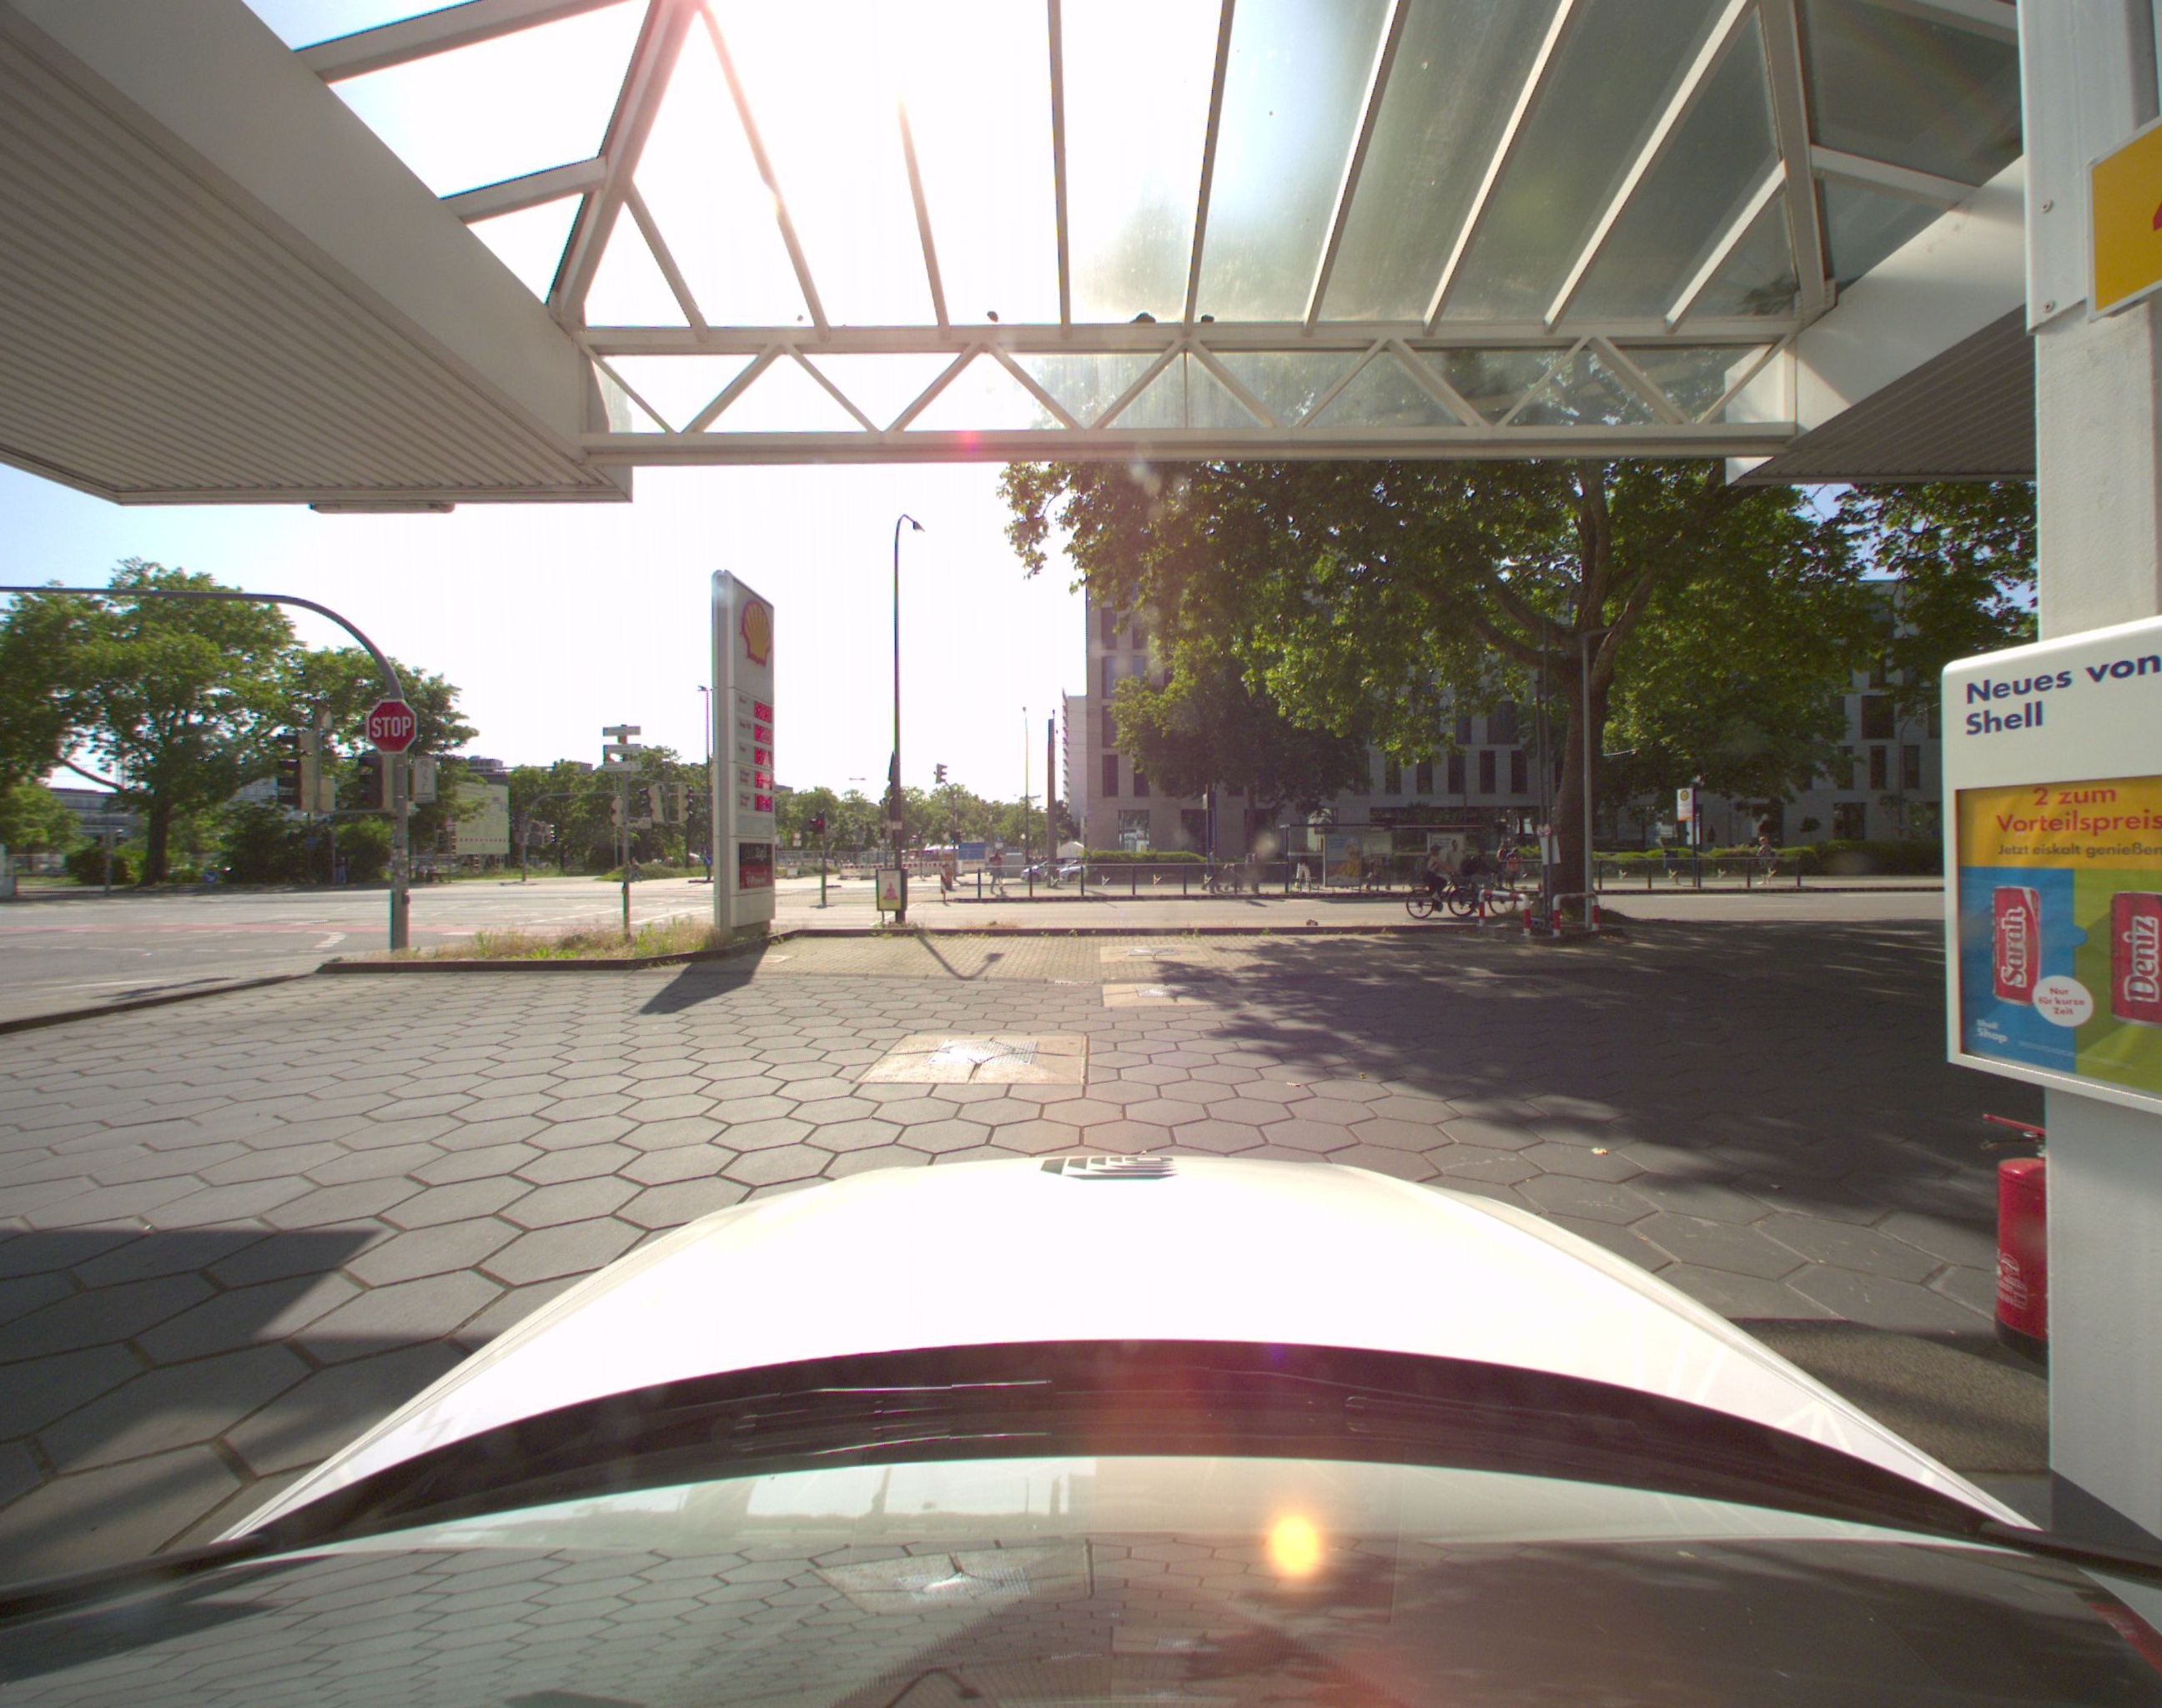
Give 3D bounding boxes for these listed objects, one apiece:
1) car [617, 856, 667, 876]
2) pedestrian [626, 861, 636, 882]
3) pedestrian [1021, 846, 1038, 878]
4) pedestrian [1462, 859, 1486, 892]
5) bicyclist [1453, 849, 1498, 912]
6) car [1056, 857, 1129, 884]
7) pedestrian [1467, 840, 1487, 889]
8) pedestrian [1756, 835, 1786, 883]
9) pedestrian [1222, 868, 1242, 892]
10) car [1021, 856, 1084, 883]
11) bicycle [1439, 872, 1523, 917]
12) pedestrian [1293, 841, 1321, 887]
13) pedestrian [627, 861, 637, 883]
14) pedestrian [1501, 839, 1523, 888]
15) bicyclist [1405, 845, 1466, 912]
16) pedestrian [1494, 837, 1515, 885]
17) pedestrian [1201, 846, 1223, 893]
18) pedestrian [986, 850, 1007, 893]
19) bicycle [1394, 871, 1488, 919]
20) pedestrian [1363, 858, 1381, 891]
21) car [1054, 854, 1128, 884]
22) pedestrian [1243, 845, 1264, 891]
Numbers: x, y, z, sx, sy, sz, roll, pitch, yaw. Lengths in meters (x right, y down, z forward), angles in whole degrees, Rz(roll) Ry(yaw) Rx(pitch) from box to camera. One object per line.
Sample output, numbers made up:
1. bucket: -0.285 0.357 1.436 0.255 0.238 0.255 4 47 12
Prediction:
1. car: -44.707 1.248 83.033 3.968 1.816 2.003 -3 -1 5
2. pedestrian: -31.119 1.193 56.350 0.566 1.469 0.509 -1 0 -24
3. pedestrian: -3.627 0.537 57.256 1.104 2.248 1.103 -1 0 1
4. pedestrian: 13.920 0.758 28.886 0.625 1.138 0.525 -1 0 7
5. bicyclist: 9.891 0.654 20.440 0.860 1.544 0.534 0 -1 -1
6. car: 0.603 0.859 41.867 3.668 1.312 1.592 -1 0 1
7. pedestrian: 14.038 0.374 28.896 0.497 1.735 0.407 -1 0 3
8. pedestrian: 25.430 0.178 30.005 0.688 1.735 0.505 -1 0 16
9. pedestrian: 5.509 0.947 29.674 0.686 0.880 0.504 -1 0 9
10. car: -1.740 0.889 48.403 3.676 1.552 1.589 -1 0 -5
11. bicycle: 10.024 1.000 20.435 1.855 1.082 0.524 -1 0 -1
12. pedestrian: 8.476 0.371 30.575 0.926 1.683 0.504 -1 0 9
13. pedestrian: -30.787 1.217 55.859 0.566 1.469 0.509 -1 0 -24
14. pedestrian: 15.225 0.336 28.764 0.497 1.735 0.524 -1 0 3
15. bicyclist: 8.513 0.571 19.557 1.168 1.580 0.638 -1 0 -6
16. pedestrian: 15.723 0.255 30.242 0.497 1.735 0.524 -1 0 3
17. pedestrian: 4.785 0.557 29.790 0.772 1.683 0.504 -1 0 9
18. pedestrian: -3.079 0.625 29.690 0.646 1.540 0.504 -1 0 10
19. bicycle: 8.649 0.966 19.573 2.017 1.082 0.638 -1 0 -6
20. pedestrian: 10.308 0.730 28.825 0.496 1.138 0.525 -1 0 7
21. car: 0.517 0.815 45.522 3.980 1.552 1.700 -1 0 -5
22. pedestrian: 6.070 0.479 28.688 0.582 1.591 0.670 -1 1 0
